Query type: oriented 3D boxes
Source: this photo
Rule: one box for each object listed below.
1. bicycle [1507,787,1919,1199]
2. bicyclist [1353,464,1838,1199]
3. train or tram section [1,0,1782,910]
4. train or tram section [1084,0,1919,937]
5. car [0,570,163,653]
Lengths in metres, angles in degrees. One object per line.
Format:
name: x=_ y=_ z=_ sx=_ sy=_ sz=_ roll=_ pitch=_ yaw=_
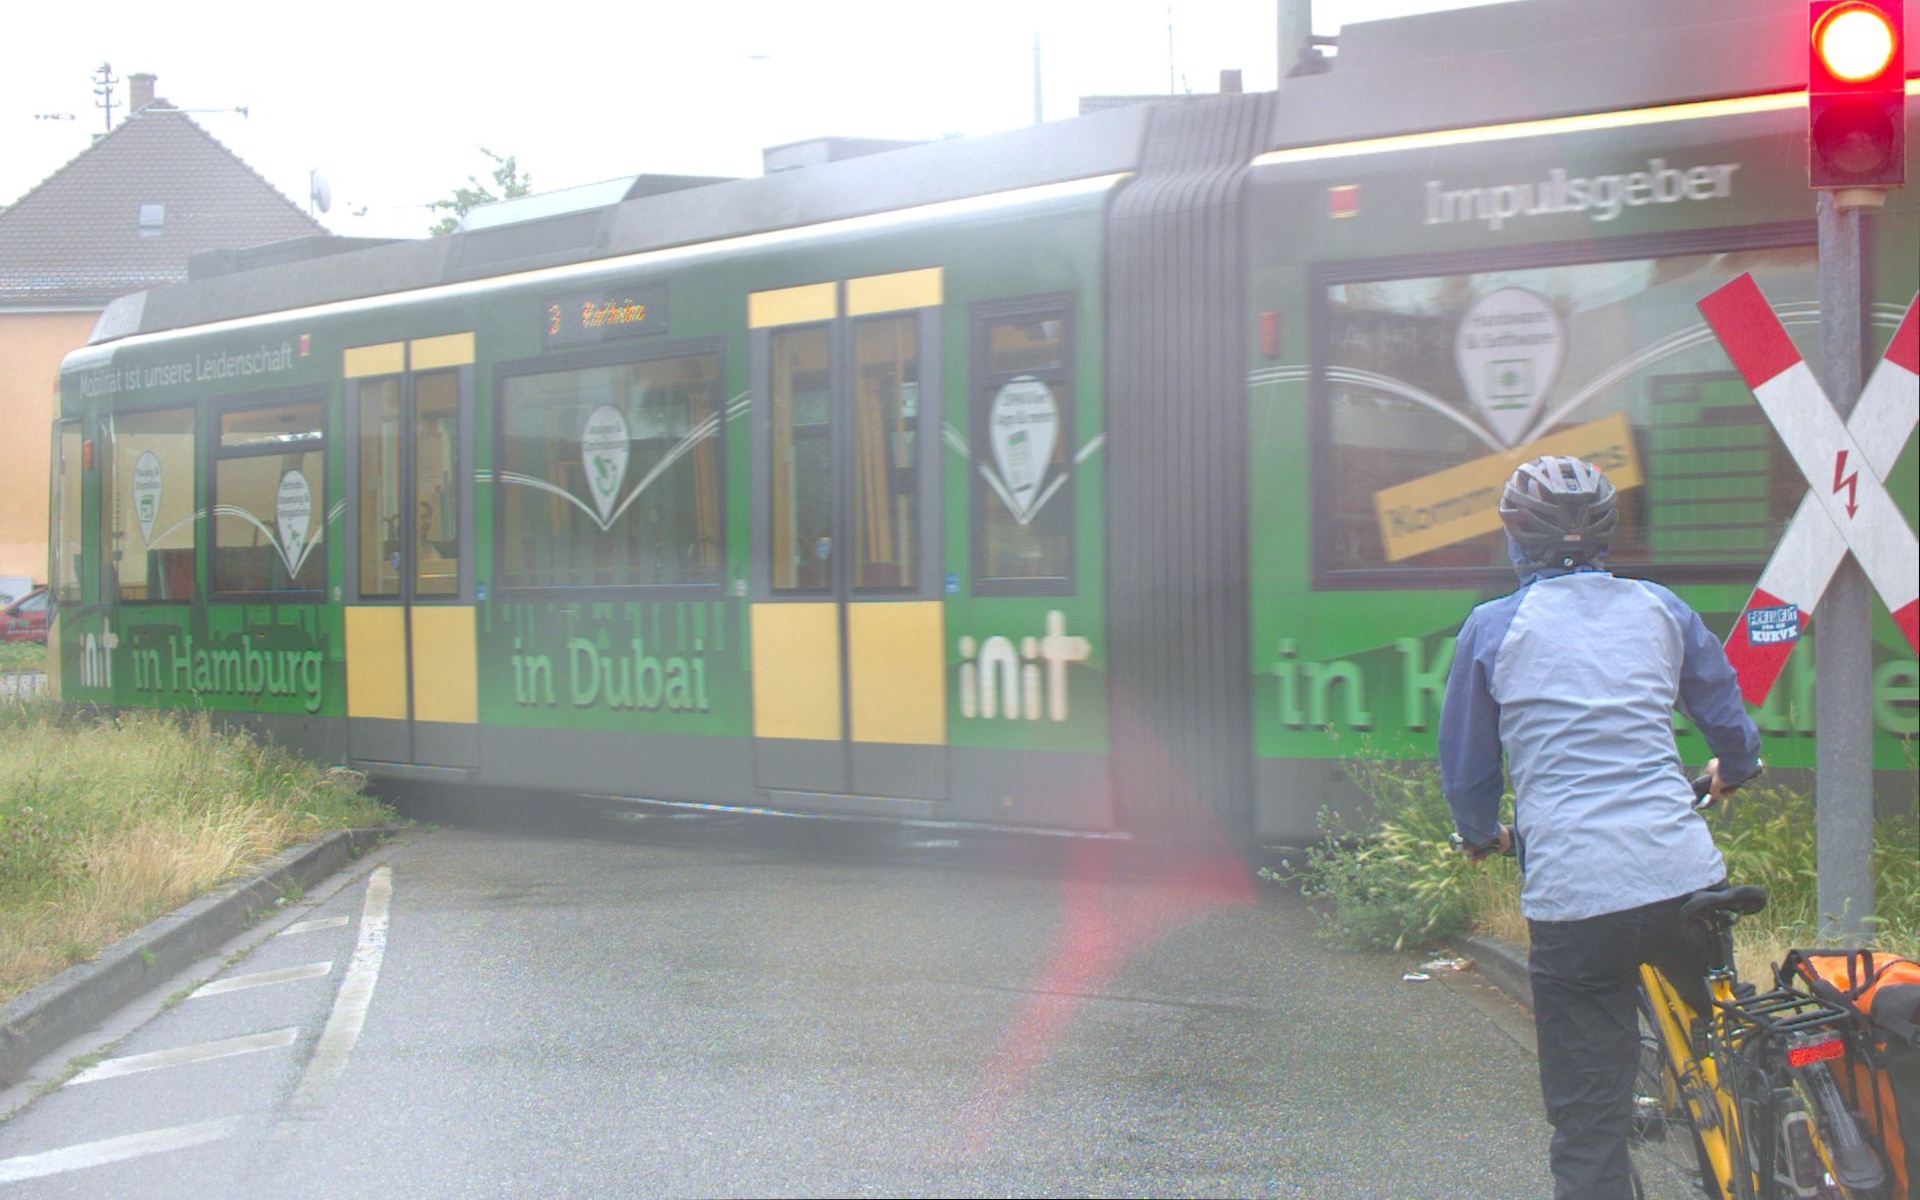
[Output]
bicycle: x=1.355 y=0.901 z=6.075 sx=0.446 sy=1.001 sz=1.728 roll=-1 pitch=1 yaw=-2
bicyclist: x=1.101 y=0.586 z=6.130 sx=0.667 sy=1.620 sz=0.853 roll=1 pitch=0 yaw=-2
train or tram section: x=-1.540 y=-0.633 z=19.010 sx=2.761 sy=3.541 sz=13.130 roll=-2 pitch=1 yaw=-36
train or tram section: x=3.356 y=-0.650 z=13.248 sx=4.981 sy=3.541 sz=2.764 roll=-1 pitch=1 yaw=35
car: x=-16.663 y=0.201 z=62.600 sx=3.986 sy=1.451 sz=1.834 roll=1 pitch=0 yaw=-6
